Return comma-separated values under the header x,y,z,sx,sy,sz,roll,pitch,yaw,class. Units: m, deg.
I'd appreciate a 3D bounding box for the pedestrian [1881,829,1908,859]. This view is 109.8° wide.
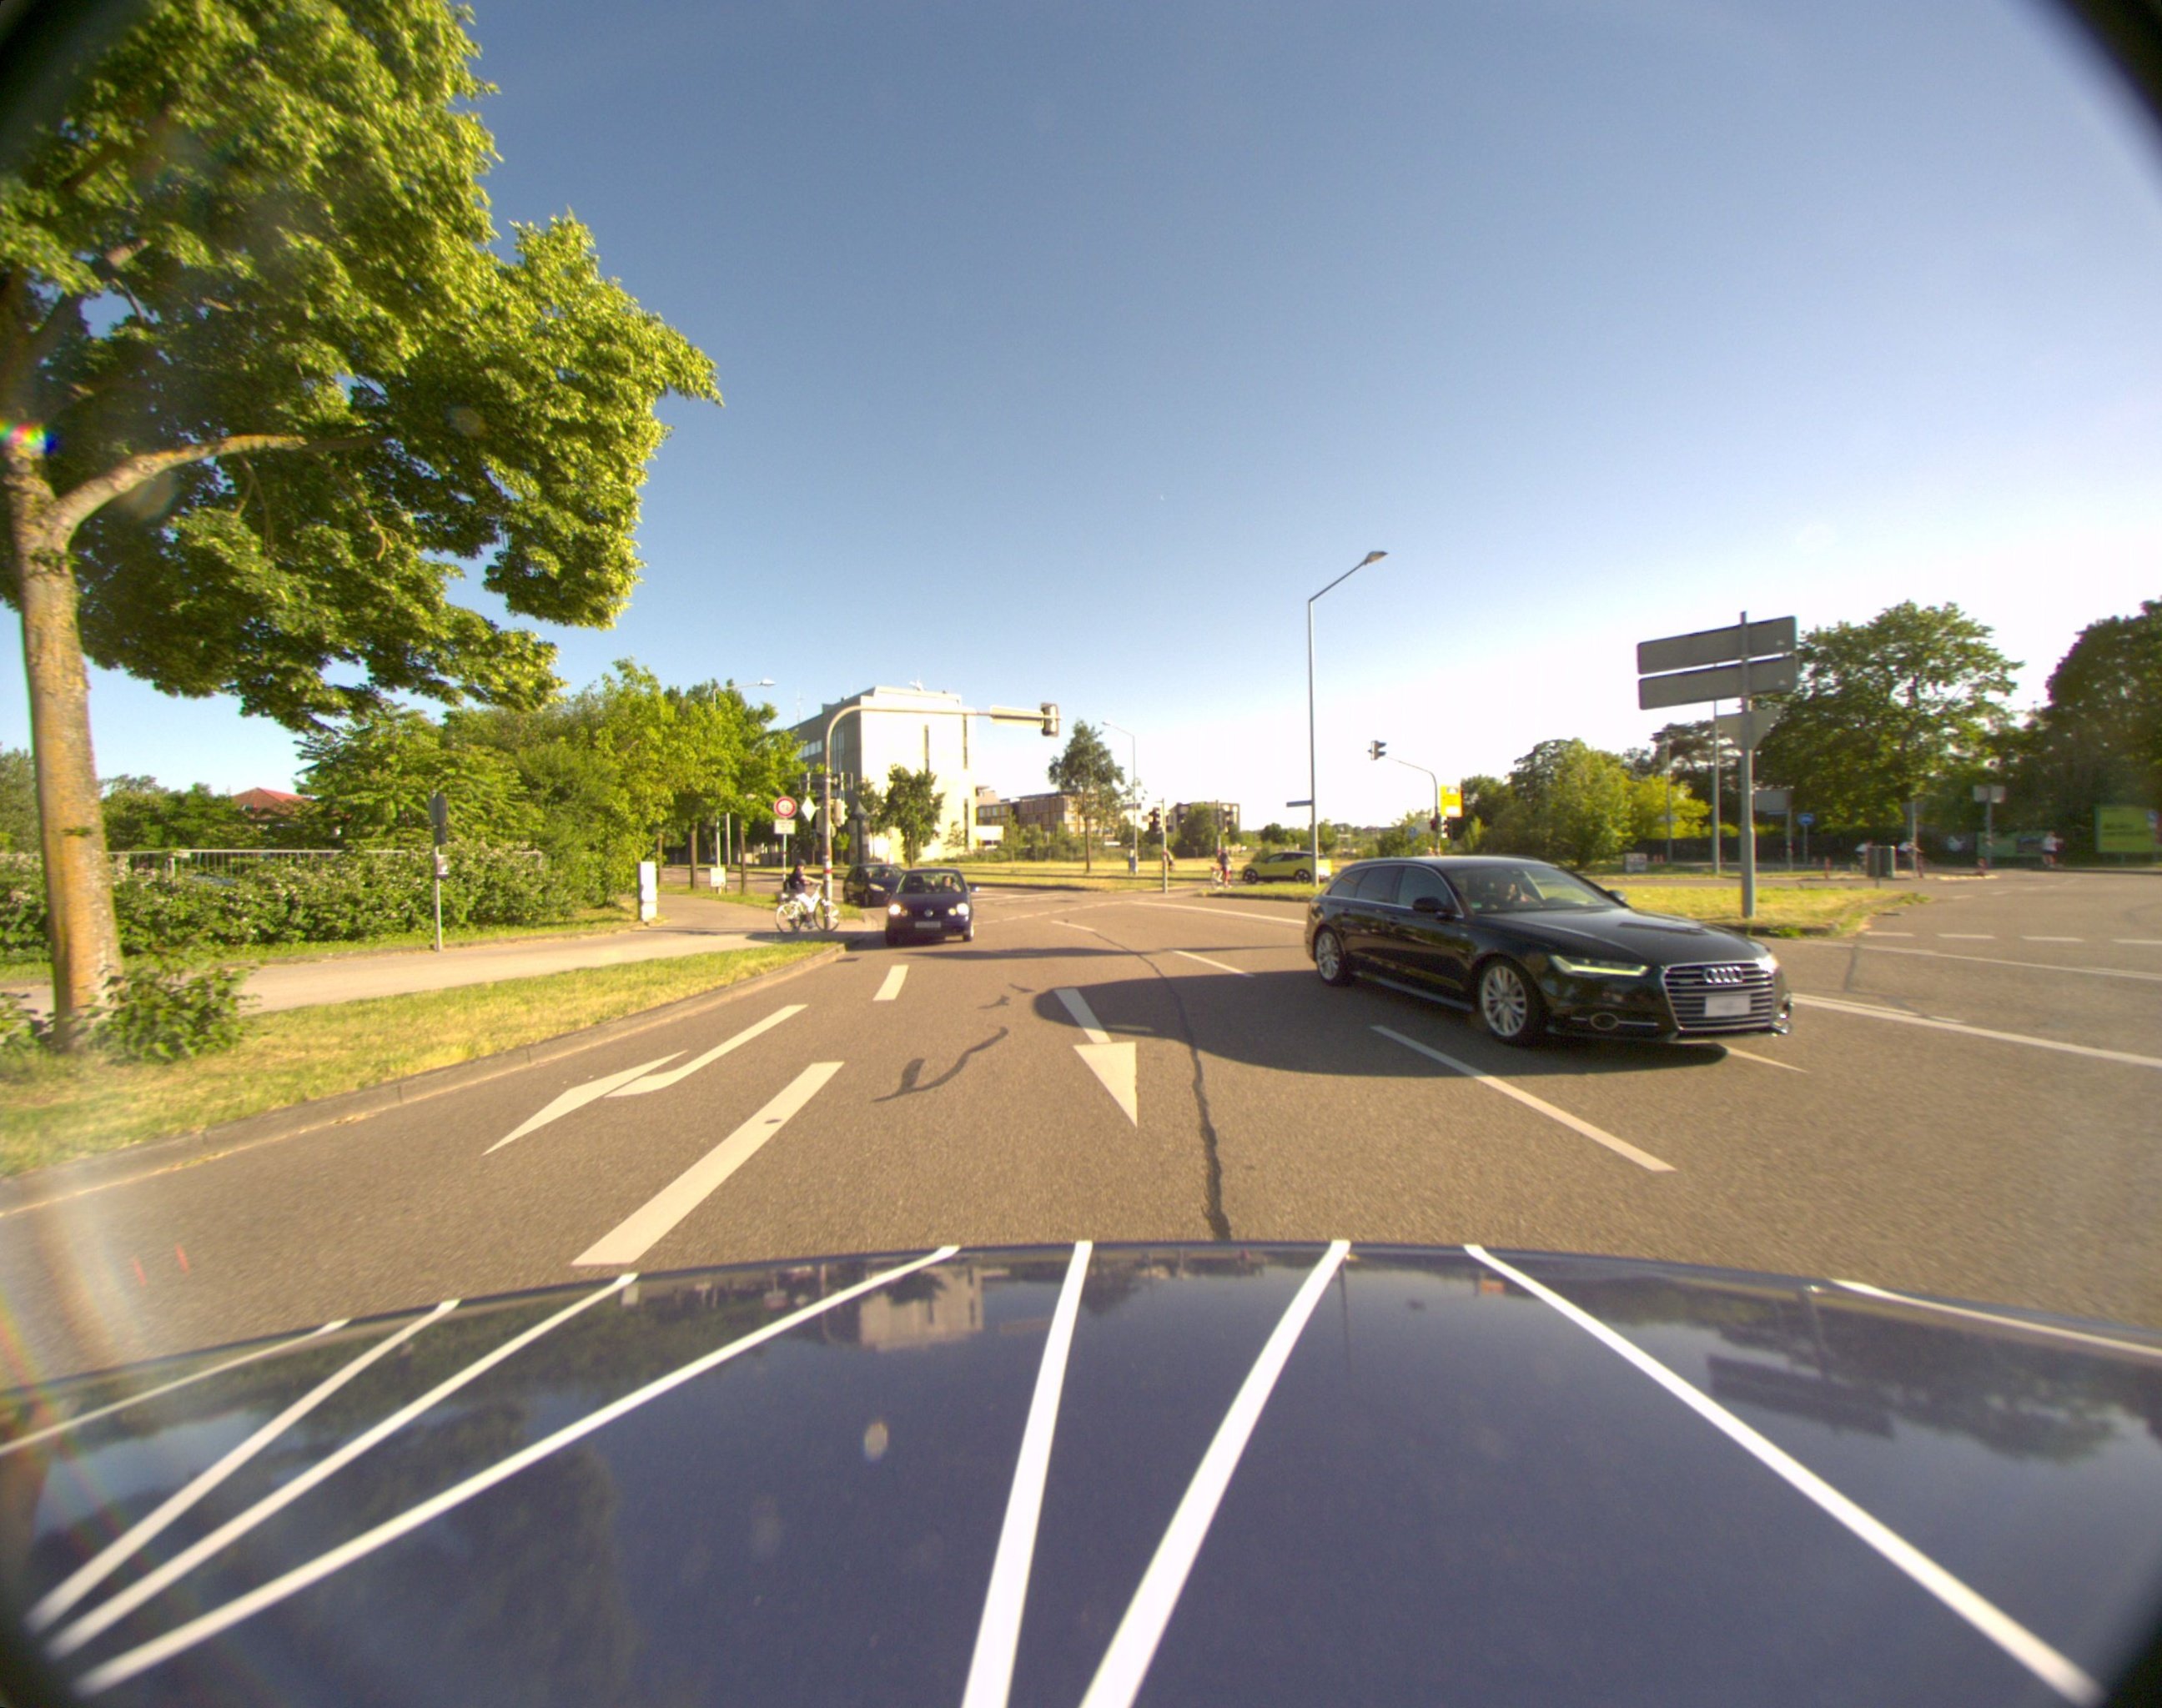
x,y,z,sx,sy,sz,roll,pitch,yaw,class
54.919,-0.700,51.309,0.900,2.002,0.819,0,2,5,pedestrian

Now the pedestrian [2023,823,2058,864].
x,y,z,sx,sy,sz,roll,pitch,yaw,class
47.733,-0.503,37.817,0.941,1.994,0.590,-1,1,32,pedestrian

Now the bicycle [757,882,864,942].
x,y,z,sx,sy,sz,roll,pitch,yaw,class
-6.033,1.254,17.081,0.874,1.148,2.221,1,1,30,bicycle

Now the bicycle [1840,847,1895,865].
x,y,z,sx,sy,sz,roll,pitch,yaw,class
39.306,0.102,38.003,1.886,0.847,0.618,-1,1,12,bicycle

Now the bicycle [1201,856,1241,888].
x,y,z,sx,sy,sz,roll,pitch,yaw,class
5.346,0.681,28.954,0.702,1.122,1.658,1,3,43,bicycle

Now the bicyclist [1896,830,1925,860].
x,y,z,sx,sy,sz,roll,pitch,yaw,class
40.366,-0.437,36.962,0.718,1.384,0.618,-1,1,12,bicyclist

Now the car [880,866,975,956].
x,y,z,sx,sy,sz,roll,pitch,yaw,class
-3.084,1.055,16.030,1.638,1.459,4.542,-2,1,-8,car

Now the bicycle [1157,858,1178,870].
x,y,z,sx,sy,sz,roll,pitch,yaw,class
6.384,0.716,56.246,0.492,0.847,1.884,-2,1,-33,bicycle

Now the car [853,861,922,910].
x,y,z,sx,sy,sz,roll,pitch,yaw,class
-6.960,1.061,27.080,1.760,1.446,3.992,-3,2,-22,car

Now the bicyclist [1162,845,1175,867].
x,y,z,sx,sy,sz,roll,pitch,yaw,class
6.447,0.157,56.114,0.434,1.555,0.849,-2,1,-33,bicyclist

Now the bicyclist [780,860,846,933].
x,y,z,sx,sy,sz,roll,pitch,yaw,class
-6.027,0.926,17.096,0.874,1.553,1.090,1,1,30,bicyclist

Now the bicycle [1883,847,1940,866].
x,y,z,sx,sy,sz,roll,pitch,yaw,class
40.387,0.115,36.968,1.886,0.847,0.618,-1,1,12,bicycle

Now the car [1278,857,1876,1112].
x,y,z,sx,sy,sz,roll,pitch,yaw,class
3.762,0.793,7.164,1.798,1.435,5.013,-2,0,-9,car

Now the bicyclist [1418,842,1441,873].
x,y,z,sx,sy,sz,roll,pitch,yaw,class
17.587,0.179,38.354,0.927,1.508,0.616,-2,1,-31,bicyclist

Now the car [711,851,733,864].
x,y,z,sx,sy,sz,roll,pitch,yaw,class
-53.096,0.486,112.308,2.004,1.729,4.725,-2,2,-38,car

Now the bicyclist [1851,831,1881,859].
x,y,z,sx,sy,sz,roll,pitch,yaw,class
39.257,-0.448,37.990,0.836,1.384,0.618,-1,1,12,bicyclist

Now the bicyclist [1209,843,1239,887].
x,y,z,sx,sy,sz,roll,pitch,yaw,class
5.471,0.406,29.096,0.702,1.654,0.944,1,3,43,bicyclist

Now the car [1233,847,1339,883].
x,y,z,sx,sy,sz,roll,pitch,yaw,class
9.602,0.516,35.739,4.312,1.532,2.013,-1,1,42,car

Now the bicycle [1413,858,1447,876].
x,y,z,sx,sy,sz,roll,pitch,yaw,class
17.642,0.639,38.394,1.892,0.847,0.616,-2,1,-31,bicycle
